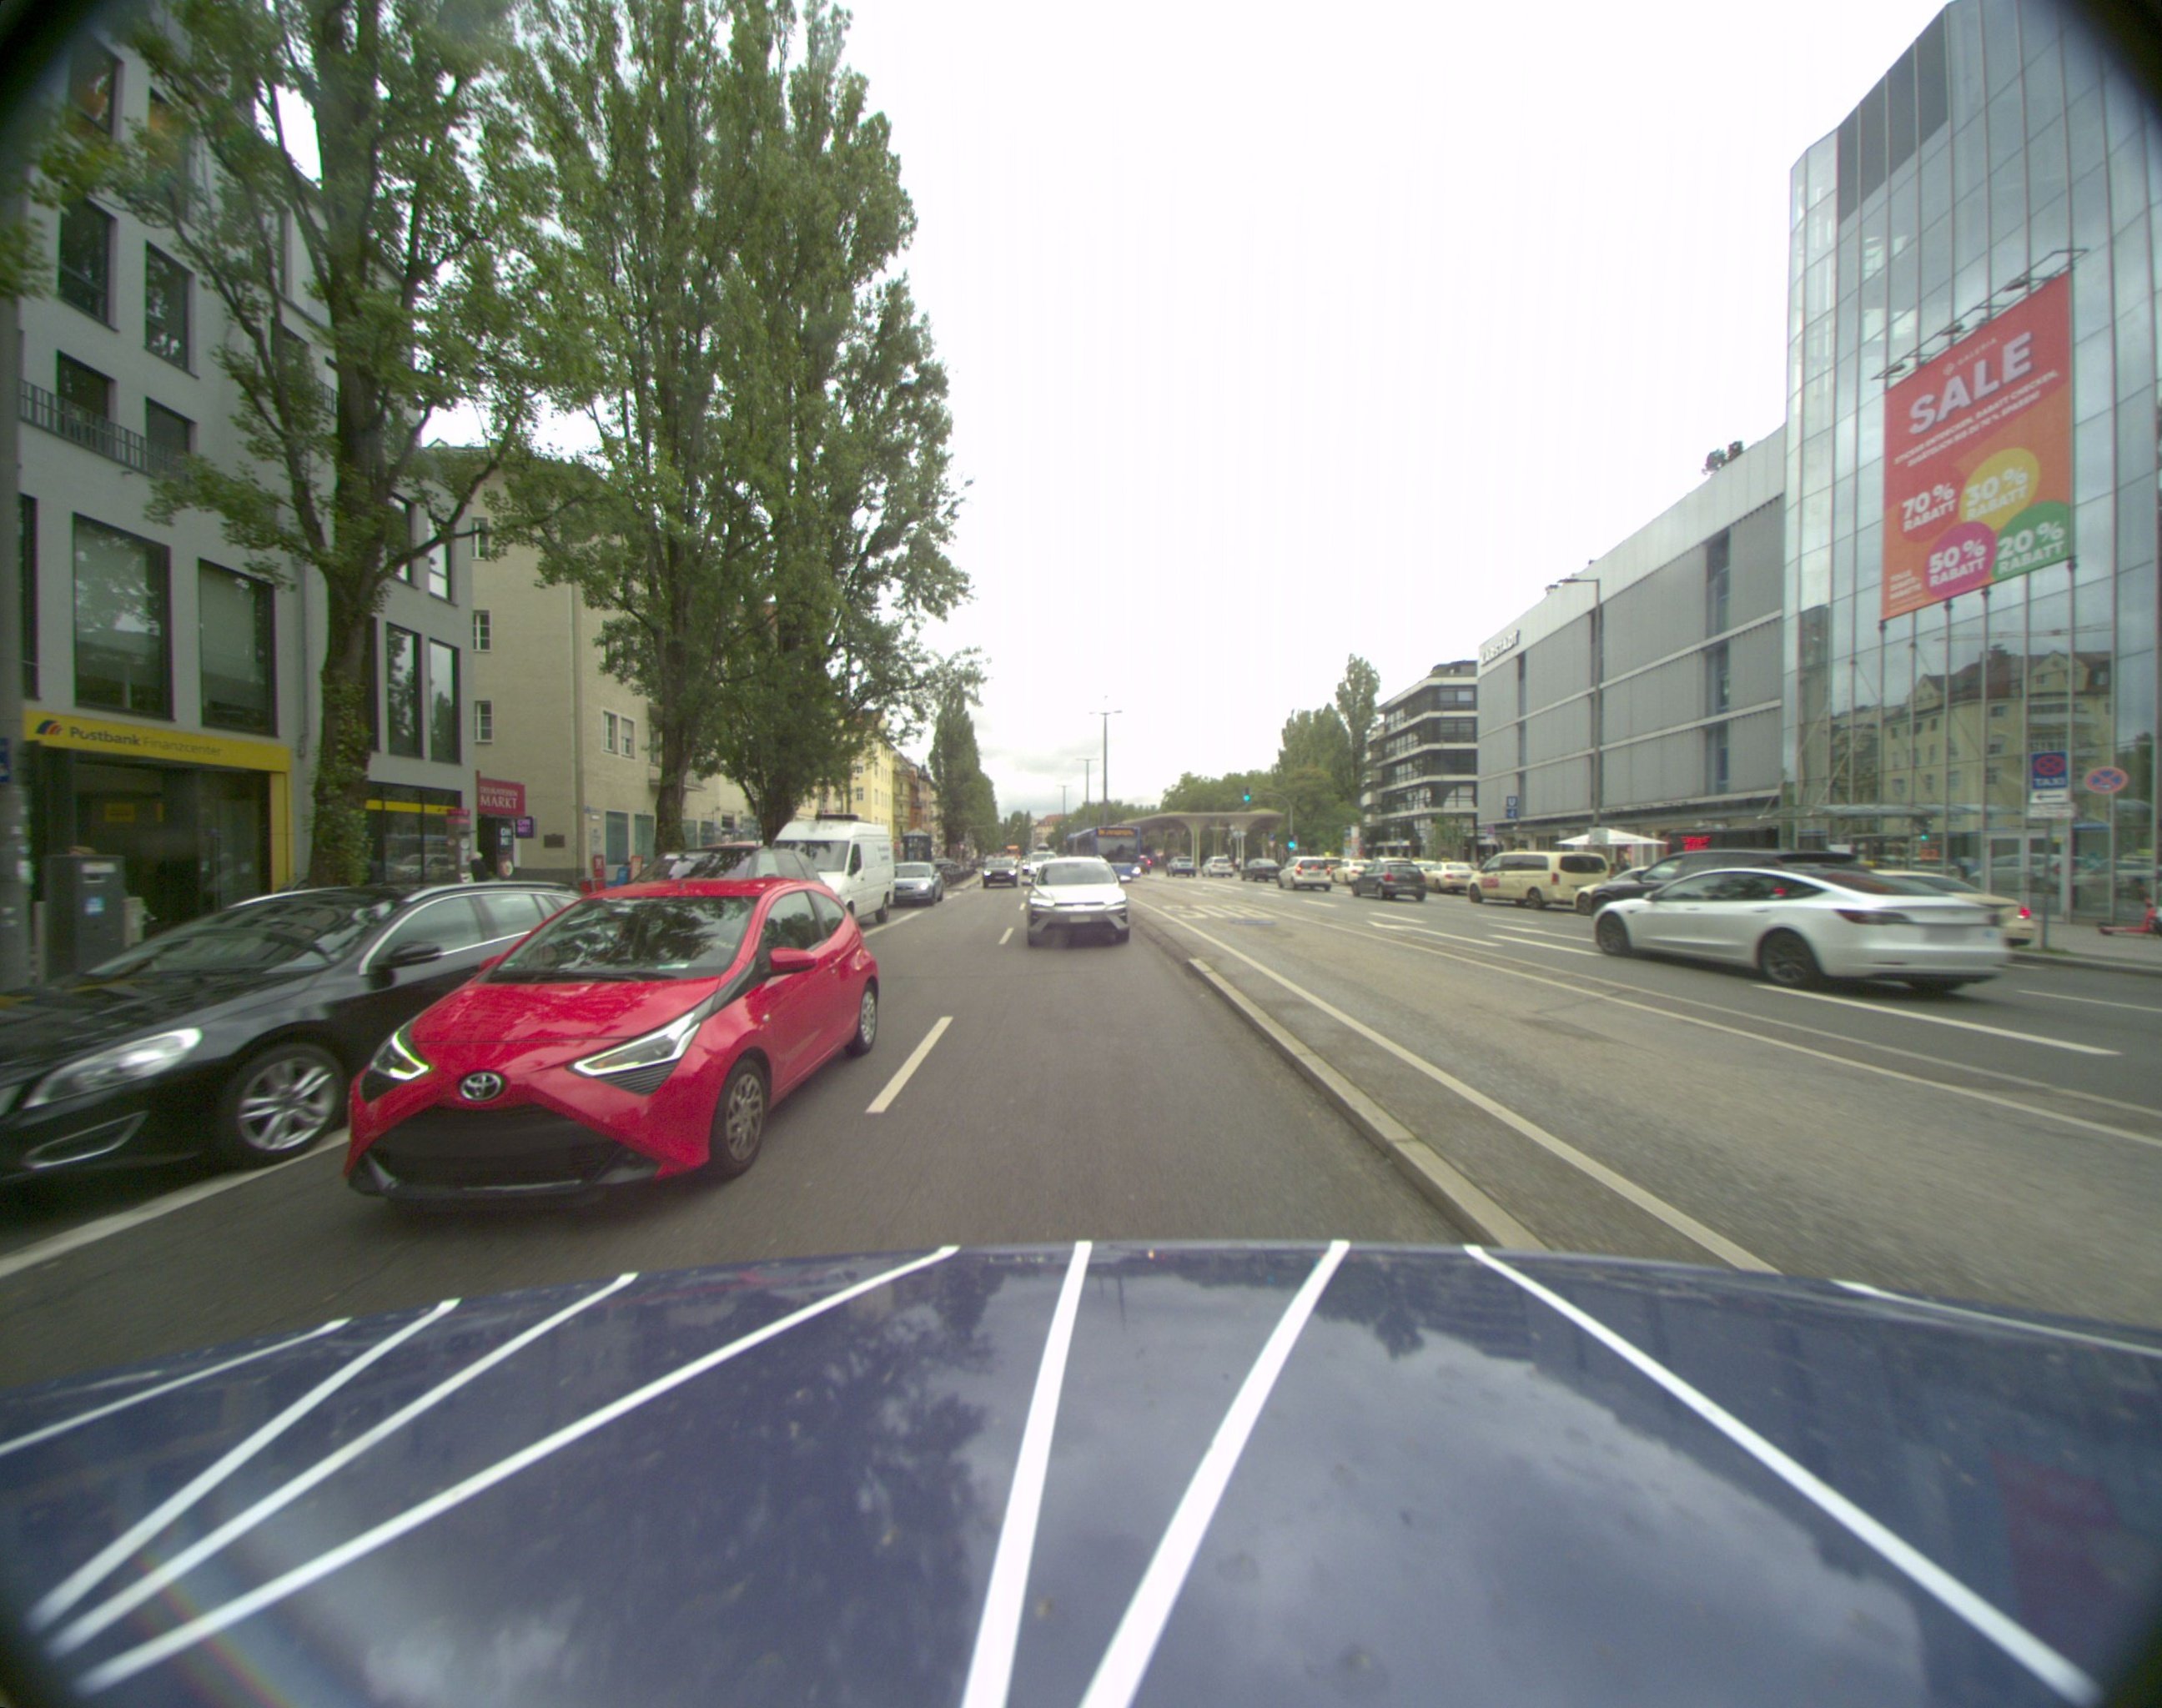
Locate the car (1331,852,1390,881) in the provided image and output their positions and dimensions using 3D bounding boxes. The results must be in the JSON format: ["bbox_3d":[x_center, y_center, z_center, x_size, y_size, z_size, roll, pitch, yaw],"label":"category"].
[{"bbox_3d":[15.607,0.681,42.741,1.950,1.532,4.849,0,0,5],"label":"car"}]

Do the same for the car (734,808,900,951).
[{"bbox_3d":[-5.785,0.449,17.532,1.999,2.726,5.552,-2,1,-2],"label":"car"}]

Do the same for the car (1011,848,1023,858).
[{"bbox_3d":[-10.396,-0.167,122.984,1.859,1.696,3.998,1,0,-5],"label":"car"}]

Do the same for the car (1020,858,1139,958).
[{"bbox_3d":[-0.136,0.893,14.379,1.897,1.483,3.998,-2,1,-3],"label":"car"}]

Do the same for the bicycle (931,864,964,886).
[{"bbox_3d":[-6.973,1.105,39.664,1.797,1.048,0.548,-4,-1,34],"label":"bicycle"}]

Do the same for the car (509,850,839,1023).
[{"bbox_3d":[-5.150,0.881,10.587,1.934,1.794,4.779,-2,1,0],"label":"car"}]

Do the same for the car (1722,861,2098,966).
[{"bbox_3d":[14.737,0.928,14.098,1.860,1.461,4.984,2,1,6],"label":"car"}]

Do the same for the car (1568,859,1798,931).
[{"bbox_3d":[15.126,0.947,19.576,1.982,1.543,5.086,0,0,2],"label":"car"}]

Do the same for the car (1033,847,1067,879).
[{"bbox_3d":[-2.003,0.533,48.012,1.999,1.889,4.233,-2,1,-4],"label":"car"}]

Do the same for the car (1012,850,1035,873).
[{"bbox_3d":[-4.970,0.616,65.709,1.873,1.760,4.233,-2,1,-4],"label":"car"}]

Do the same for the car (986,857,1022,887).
[{"bbox_3d":[-4.072,0.907,40.079,1.741,1.461,4.048,-1,0,-6],"label":"car"}]

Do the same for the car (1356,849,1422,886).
[{"bbox_3d":[15.094,0.623,37.472,1.889,1.689,4.385,1,0,6],"label":"car"}]

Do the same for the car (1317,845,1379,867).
[{"bbox_3d":[18.538,0.127,52.985,1.861,1.502,4.291,0,0,-18],"label":"car"}]

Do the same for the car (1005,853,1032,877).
[{"bbox_3d":[-4.839,0.813,59.139,1.999,1.740,3.998,-2,1,-4],"label":"car"}]

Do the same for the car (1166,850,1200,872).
[{"bbox_3d":[7.751,0.520,58.149,1.822,1.536,3.998,2,0,-3],"label":"car"}]

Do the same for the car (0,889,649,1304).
[{"bbox_3d":[-5.172,1.099,5.271,1.776,1.425,4.570,-2,0,-1],"label":"car"}]

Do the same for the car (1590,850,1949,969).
[{"bbox_3d":[11.613,0.783,13.475,2.023,1.706,4.983,0,0,3],"label":"car"}]

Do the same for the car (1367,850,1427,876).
[{"bbox_3d":[19.513,0.515,47.160,1.912,1.558,3.999,0,0,-3],"label":"car"}]

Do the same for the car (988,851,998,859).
[{"bbox_3d":[-19.739,0.208,170.297,1.999,1.630,3.998,0,0,-4],"label":"car"}]

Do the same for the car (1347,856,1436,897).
[{"bbox_3d":[11.940,0.829,29.537,1.788,1.457,3.999,0,0,-1],"label":"car"}]

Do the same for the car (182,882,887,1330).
[{"bbox_3d":[-2.480,1.006,4.631,1.669,1.438,3.595,-2,1,-1],"label":"car"}]

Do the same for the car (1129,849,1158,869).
[{"bbox_3d":[5.498,0.405,67.059,1.999,1.611,4.411,1,0,-3],"label":"car"}]

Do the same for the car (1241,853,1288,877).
[{"bbox_3d":[11.468,0.666,47.762,1.733,1.401,4.687,0,0,-1],"label":"car"}]

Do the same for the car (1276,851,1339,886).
[{"bbox_3d":[10.889,0.672,36.809,1.958,1.580,4.000,0,0,2],"label":"car"}]

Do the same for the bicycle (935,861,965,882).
[{"bbox_3d":[-7.746,1.040,45.032,1.797,1.098,0.548,-4,-1,34],"label":"bicycle"}]

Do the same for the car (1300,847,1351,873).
[{"bbox_3d":[15.917,0.353,49.732,1.591,1.602,4.474,0,0,-5],"label":"car"}]

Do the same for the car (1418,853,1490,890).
[{"bbox_3d":[17.237,0.763,35.293,1.775,1.607,4.002,0,1,7],"label":"car"}]

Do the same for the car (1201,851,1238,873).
[{"bbox_3d":[10.773,0.607,59.396,1.999,1.591,4.288,0,0,-2],"label":"car"}]

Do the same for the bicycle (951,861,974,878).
[{"bbox_3d":[-7.985,1.075,51.171,1.848,1.053,0.398,-4,-1,41],"label":"bicycle"}]

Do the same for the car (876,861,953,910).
[{"bbox_3d":[-5.684,1.020,26.442,1.729,1.445,4.147,-2,0,0],"label":"car"}]

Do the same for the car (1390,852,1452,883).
[{"bbox_3d":[18.137,0.692,40.746,1.756,1.527,4.001,0,0,4],"label":"car"}]

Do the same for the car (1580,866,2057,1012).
[{"bbox_3d":[9.069,0.902,10.105,1.804,1.386,4.690,0,0,1],"label":"car"}]

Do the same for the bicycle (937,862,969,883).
[{"bbox_3d":[-7.177,1.051,42.558,1.797,1.098,0.548,-4,-1,34],"label":"bicycle"}]

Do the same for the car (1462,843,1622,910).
[{"bbox_3d":[15.236,0.665,25.561,1.999,2.002,5.320,1,1,-1],"label":"car"}]

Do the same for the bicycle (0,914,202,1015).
[{"bbox_3d":[-10.970,1.217,8.551,1.304,1.018,0.571,0,2,-13],"label":"bicycle"}]

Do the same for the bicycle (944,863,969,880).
[{"bbox_3d":[-8.060,1.112,49.216,1.797,1.004,0.387,-4,-1,34],"label":"bicycle"}]
